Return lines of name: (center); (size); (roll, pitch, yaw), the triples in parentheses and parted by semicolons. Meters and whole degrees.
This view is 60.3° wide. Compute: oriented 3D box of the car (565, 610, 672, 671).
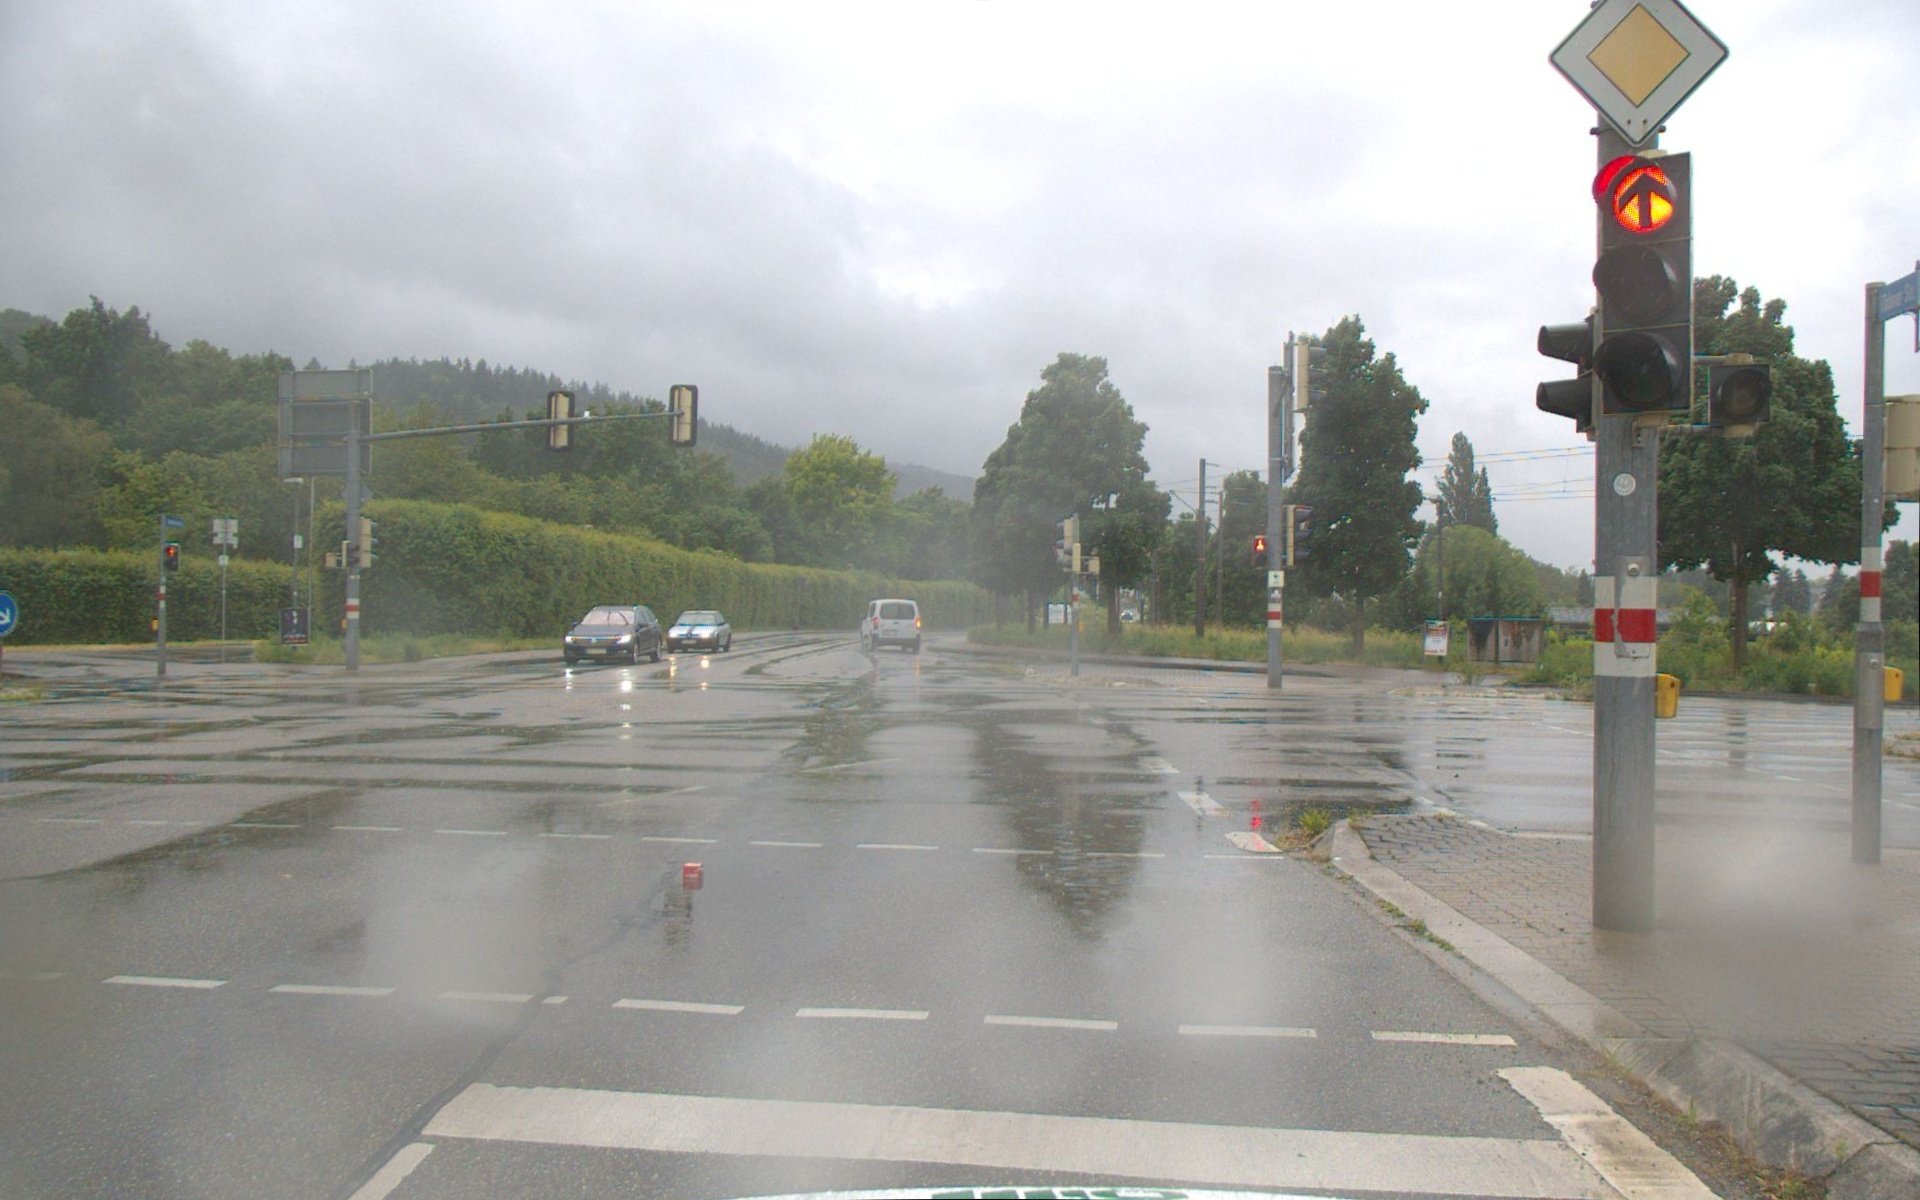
car: (-8.888, 1.010, 43.381); (1.673, 1.491, 4.454); (0, 0, 3)

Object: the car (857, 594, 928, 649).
car: (-2.490, 0.749, 60.057); (1.919, 1.937, 4.108); (0, 0, -12)

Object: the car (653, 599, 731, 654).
car: (-9.002, 0.855, 55.864); (1.995, 1.738, 4.065); (1, 0, -1)

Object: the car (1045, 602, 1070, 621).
car: (10.248, 1.193, 174.084); (1.891, 1.923, 4.065); (0, 0, 13)
